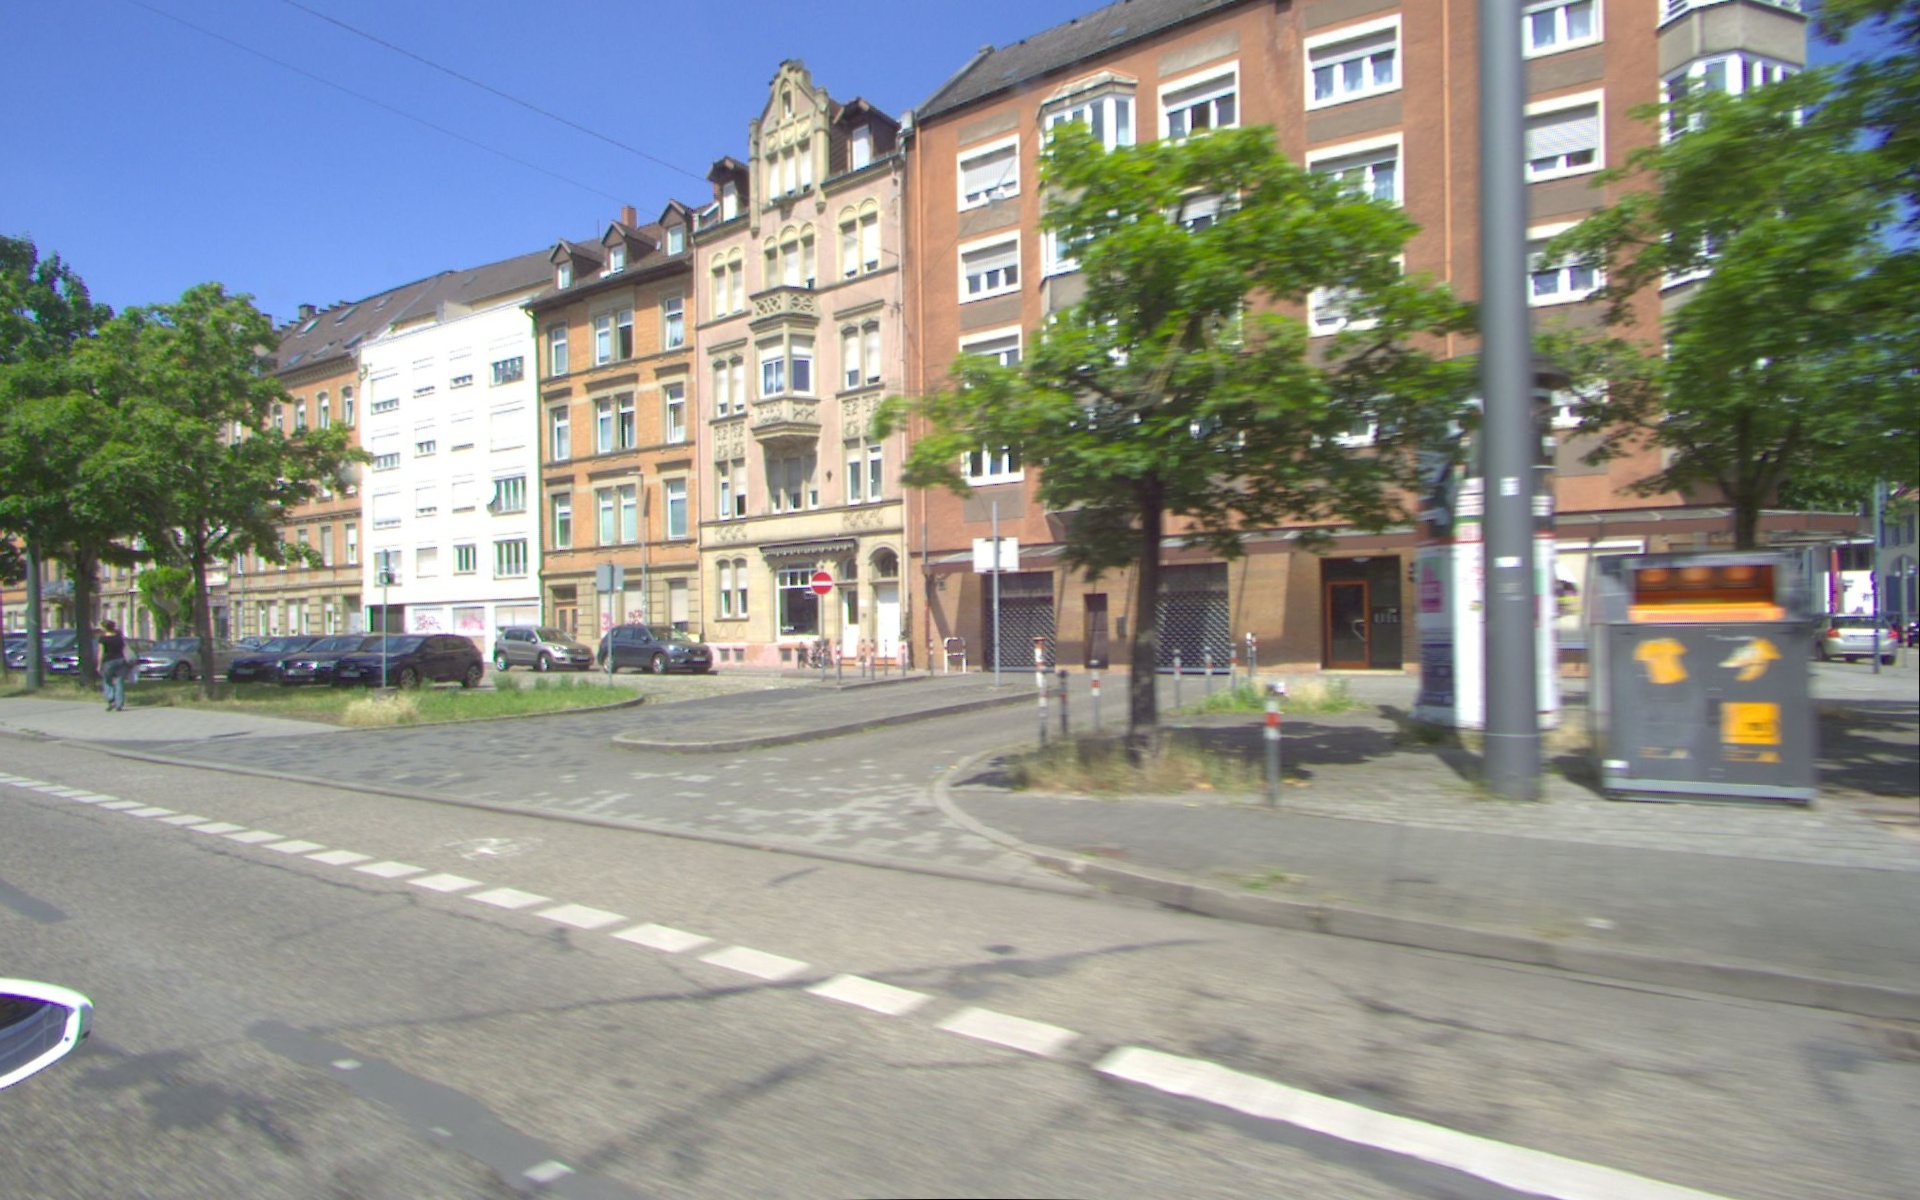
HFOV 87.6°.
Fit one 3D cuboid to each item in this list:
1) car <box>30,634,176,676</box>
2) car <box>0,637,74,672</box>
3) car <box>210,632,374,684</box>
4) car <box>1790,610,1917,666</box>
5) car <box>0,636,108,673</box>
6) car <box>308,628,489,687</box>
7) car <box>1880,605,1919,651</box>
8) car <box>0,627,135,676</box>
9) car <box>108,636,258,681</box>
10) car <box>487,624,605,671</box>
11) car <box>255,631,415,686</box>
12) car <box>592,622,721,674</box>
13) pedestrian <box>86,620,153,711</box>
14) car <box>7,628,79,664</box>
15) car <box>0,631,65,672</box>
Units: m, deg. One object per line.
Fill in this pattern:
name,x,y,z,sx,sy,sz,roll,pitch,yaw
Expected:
car,-30.952,1.991,36.365,1.816,1.397,4.272,0,-3,-4
car,-40.009,2.308,42.207,1.816,1.423,4.088,0,-3,-3
car,-19.464,1.696,29.409,1.923,1.397,4.003,-1,-3,5
car,26.069,1.149,29.365,1.839,1.517,3.986,-2,-3,28
car,-37.330,2.196,40.480,1.816,1.397,4.697,0,-3,-2
car,-14.124,1.454,25.473,1.924,1.371,4.001,-1,-3,10
car,37.461,1.104,38.557,1.969,1.716,3.987,-2,-3,27
car,-34.151,1.961,38.258,1.816,1.762,4.369,0,-3,-4
car,-25.547,1.916,33.140,1.816,1.397,4.272,0,-3,-4
car,-15.317,1.768,36.988,4.433,1.635,1.829,-2,-3,33
car,-17.106,1.594,27.647,1.923,1.397,4.003,-1,-3,0
car,-10.237,1.635,33.653,4.437,1.635,1.827,-3,-3,36
pedestrian,-16.477,1.274,19.631,1.030,1.726,0.699,-2,0,32
car,-58.023,2.941,63.323,5.319,2.205,2.107,-2,-3,33
car,-42.408,2.291,44.276,1.816,1.762,4.153,-1,-3,2
